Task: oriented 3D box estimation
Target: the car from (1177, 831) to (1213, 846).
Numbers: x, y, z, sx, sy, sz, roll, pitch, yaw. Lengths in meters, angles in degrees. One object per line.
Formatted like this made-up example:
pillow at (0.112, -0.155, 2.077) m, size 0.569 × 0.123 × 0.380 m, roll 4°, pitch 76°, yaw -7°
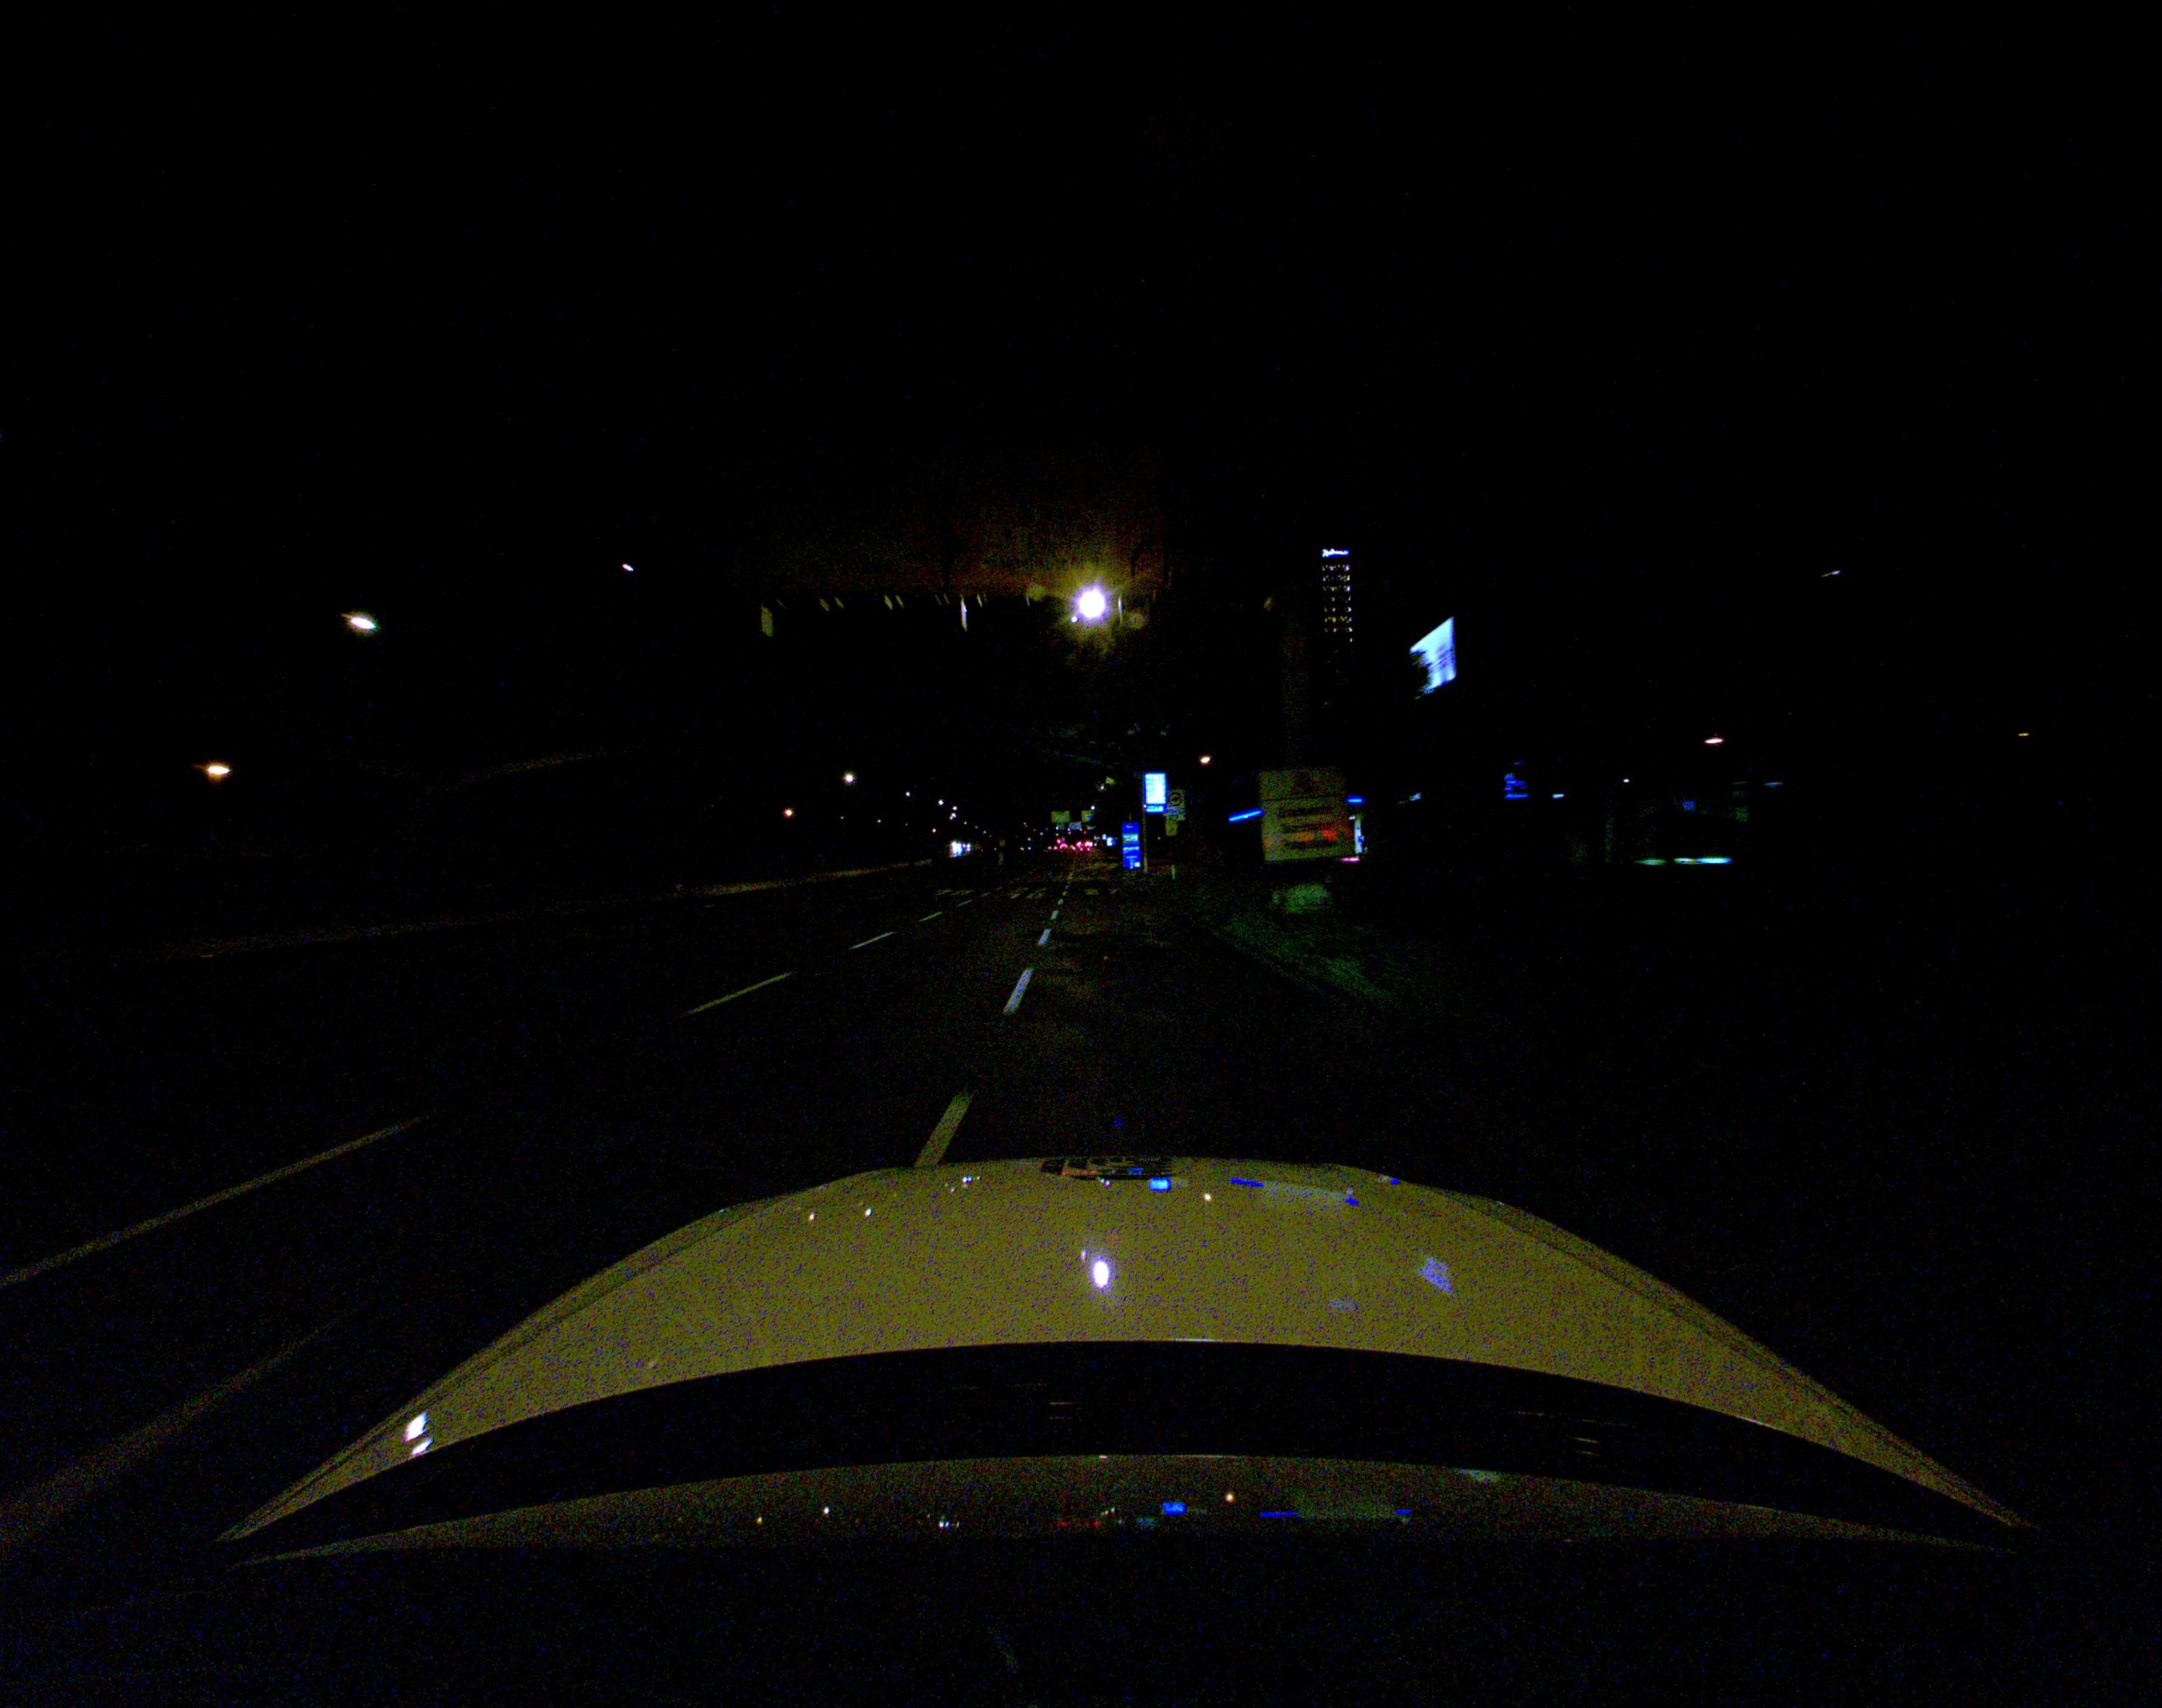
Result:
car at (13.870, -1.838, 98.981) m, size 4.104 × 1.522 × 1.823 m, roll -3°, pitch -2°, yaw 1°

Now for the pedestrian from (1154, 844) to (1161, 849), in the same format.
pedestrian at (14.475, -1.409, 154.465) m, size 0.902 × 1.038 × 0.776 m, roll -2°, pitch 0°, yaw 43°

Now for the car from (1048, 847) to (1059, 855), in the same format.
car at (-5.673, -0.658, 170.643) m, size 1.960 × 1.711 × 4.002 m, roll 0°, pitch -1°, yaw 2°

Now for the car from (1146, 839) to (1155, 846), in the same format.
car at (15.760, -2.663, 184.005) m, size 1.882 × 1.511 × 3.643 m, roll 0°, pitch -1°, yaw 7°

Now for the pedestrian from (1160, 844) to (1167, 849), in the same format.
pedestrian at (15.669, -1.428, 154.428) m, size 1.000 × 1.008 × 0.767 m, roll 0°, pitch -1°, yaw -16°

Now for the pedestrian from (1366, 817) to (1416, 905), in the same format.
pedestrian at (7.047, 0.158, 18.562) m, size 0.800 × 1.913 × 0.795 m, roll -4°, pitch -1°, yaw 9°

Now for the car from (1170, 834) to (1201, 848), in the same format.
car at (13.685, -1.669, 106.457) m, size 3.715 × 1.489 × 1.741 m, roll -3°, pitch -1°, yaw -2°

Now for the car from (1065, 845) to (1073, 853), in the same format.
car at (-2.836, -1.210, 195.296) m, size 1.775 × 1.711 × 4.002 m, roll 0°, pitch -1°, yaw 2°

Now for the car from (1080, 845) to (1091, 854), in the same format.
car at (0.886, -0.841, 161.380) m, size 1.960 × 1.711 × 4.002 m, roll 0°, pitch -1°, yaw 2°

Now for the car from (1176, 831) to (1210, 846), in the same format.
car at (13.919, -1.864, 101.408) m, size 3.973 × 1.571 × 1.739 m, roll -4°, pitch -1°, yaw 1°
